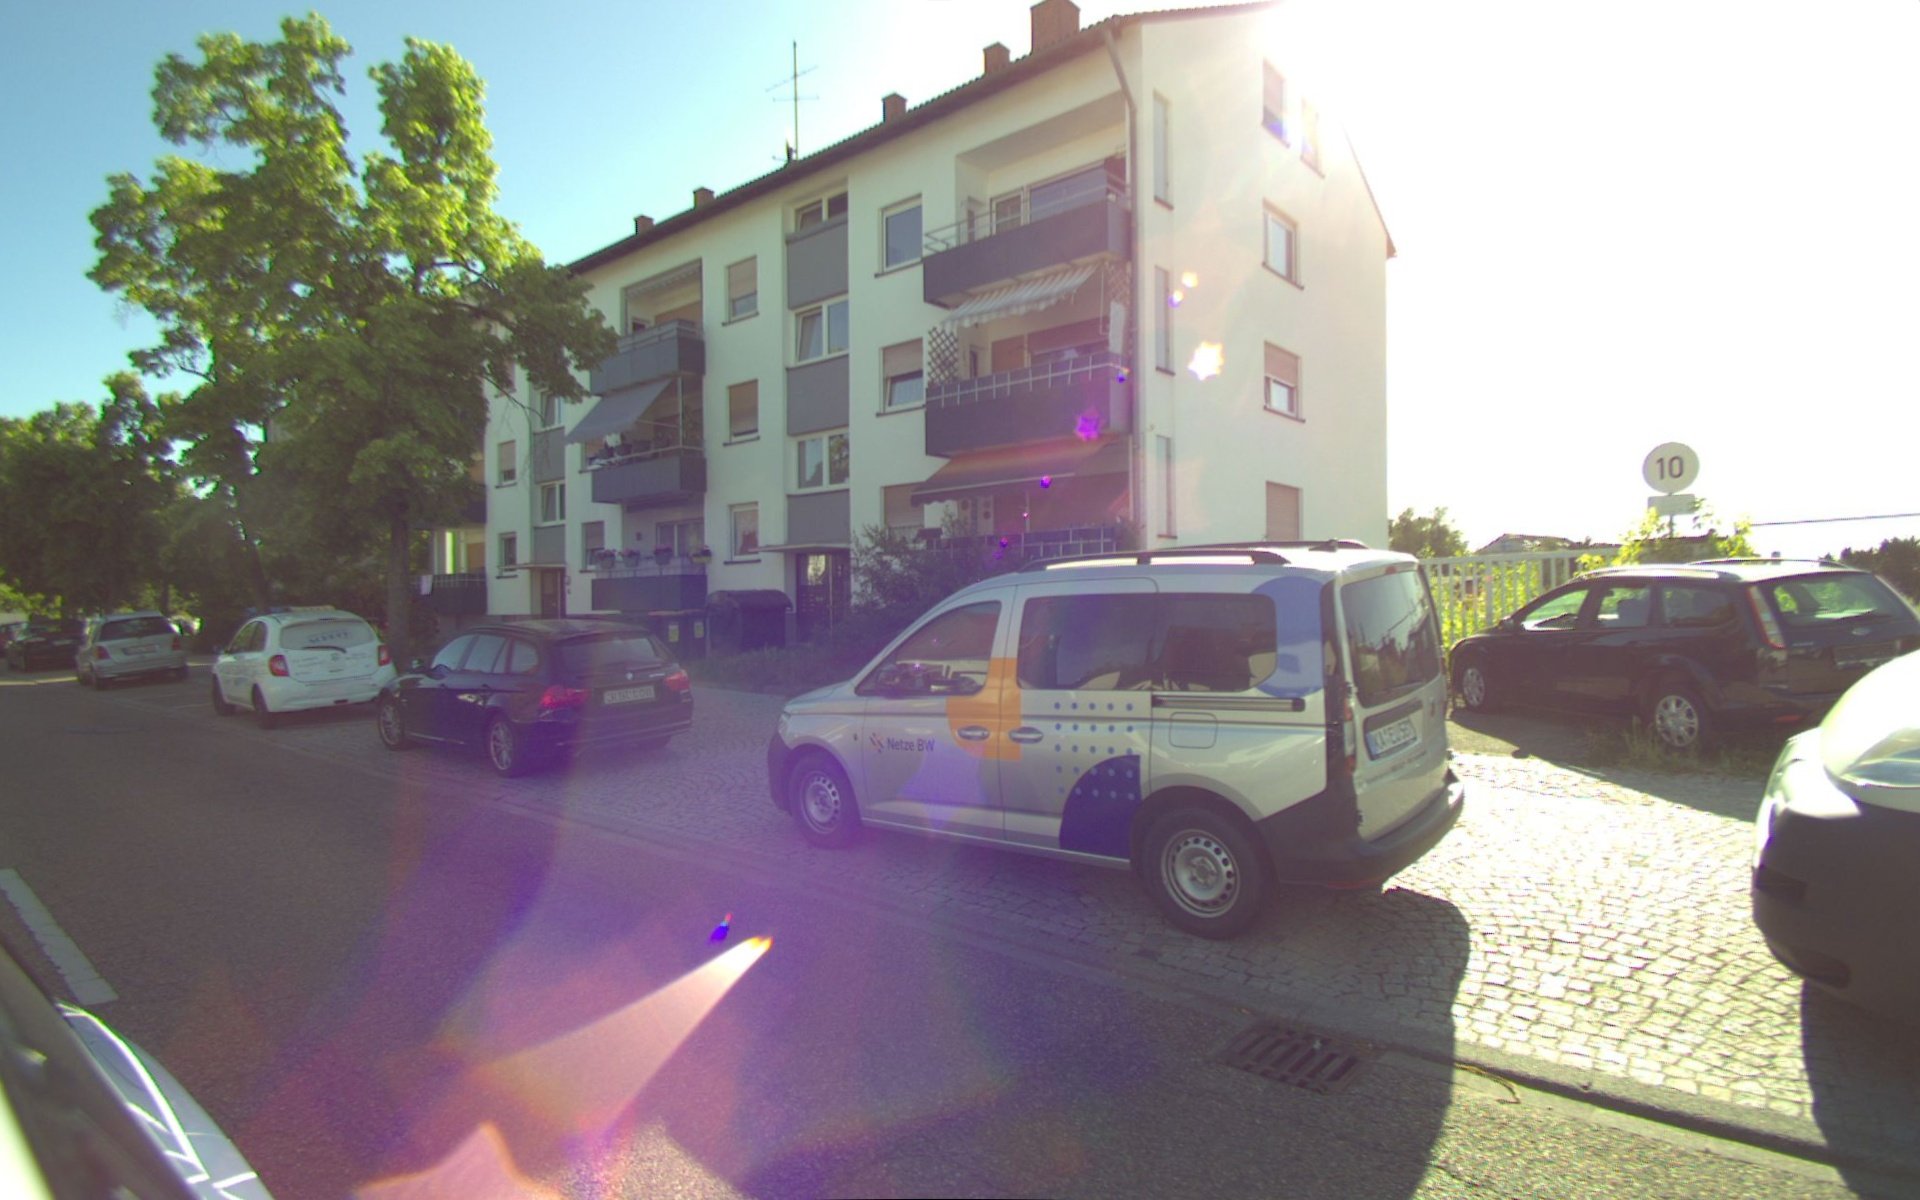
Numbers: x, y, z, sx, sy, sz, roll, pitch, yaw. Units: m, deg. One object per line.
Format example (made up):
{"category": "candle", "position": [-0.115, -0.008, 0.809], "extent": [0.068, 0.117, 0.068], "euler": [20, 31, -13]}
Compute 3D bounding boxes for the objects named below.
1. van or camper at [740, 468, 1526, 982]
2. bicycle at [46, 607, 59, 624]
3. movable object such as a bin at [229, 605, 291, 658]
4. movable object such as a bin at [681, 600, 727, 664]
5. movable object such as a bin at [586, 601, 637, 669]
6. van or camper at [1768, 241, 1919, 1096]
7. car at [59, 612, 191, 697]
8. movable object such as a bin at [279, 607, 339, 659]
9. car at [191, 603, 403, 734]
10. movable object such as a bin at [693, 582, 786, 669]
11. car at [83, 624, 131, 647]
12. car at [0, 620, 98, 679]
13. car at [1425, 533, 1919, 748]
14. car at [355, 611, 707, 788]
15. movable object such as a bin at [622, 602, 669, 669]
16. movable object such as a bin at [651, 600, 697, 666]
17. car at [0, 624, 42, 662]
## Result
{"category": "van or camper", "position": [0.775, 0.487, 6.098], "extent": [4.277, 2.028, 1.858], "euler": [-1, 2, 41]}
{"category": "bicycle", "position": [-54.872, 0.930, 61.223], "extent": [0.352, 1.015, 1.203], "euler": [-2, -1, -31]}
{"category": "movable object such as a bin", "position": [-22.611, 1.002, 32.704], "extent": [1.267, 1.675, 1.398], "euler": [-2, -1, 43]}
{"category": "movable object such as a bin", "position": [-5.271, 0.644, 20.837], "extent": [0.672, 1.288, 0.631], "euler": [-2, -1, 43]}
{"category": "movable object such as a bin", "position": [-6.693, 0.662, 19.445], "extent": [0.672, 1.288, 0.679], "euler": [-2, -1, 43]}
{"category": "van or camper", "position": [5.361, 0.108, 2.215], "extent": [5.549, 2.508, 2.102], "euler": [-1, 3, 39]}
{"category": "car", "position": [-19.108, 1.177, 23.106], "extent": [3.909, 1.604, 1.704], "euler": [-1, 5, 43]}
{"category": "movable object such as a bin", "position": [-20.271, 1.024, 31.521], "extent": [1.327, 1.555, 1.276], "euler": [-2, -1, 43]}
{"category": "car", "position": [-9.785, 0.908, 14.829], "extent": [3.907, 1.577, 1.674], "euler": [-1, 2, 43]}
{"category": "movable object such as a bin", "position": [-3.952, 0.448, 18.159], "extent": [1.116, 1.494, 1.218], "euler": [-2, -1, 43]}
{"category": "car", "position": [-60.502, 2.527, 71.854], "extent": [1.624, 1.551, 3.716], "euler": [0, -1, -23]}
{"category": "car", "position": [-28.043, 1.477, 30.918], "extent": [4.539, 1.504, 1.705], "euler": [-1, 4, 40]}
{"category": "car", "position": [6.472, 0.291, 9.513], "extent": [1.588, 1.525, 4.397], "euler": [-1, 0, -9]}
{"category": "car", "position": [-4.670, 0.917, 10.705], "extent": [4.309, 1.446, 1.593], "euler": [-2, 1, 40]}
{"category": "movable object such as a bin", "position": [-6.175, 0.682, 19.880], "extent": [0.672, 1.288, 0.631], "euler": [-2, -1, 43]}
{"category": "movable object such as a bin", "position": [-5.751, 0.657, 20.372], "extent": [0.672, 1.288, 0.631], "euler": [-2, -1, 43]}
{"category": "car", "position": [-40.898, 1.841, 43.715], "extent": [1.637, 1.505, 3.914], "euler": [-5, 2, -40]}
